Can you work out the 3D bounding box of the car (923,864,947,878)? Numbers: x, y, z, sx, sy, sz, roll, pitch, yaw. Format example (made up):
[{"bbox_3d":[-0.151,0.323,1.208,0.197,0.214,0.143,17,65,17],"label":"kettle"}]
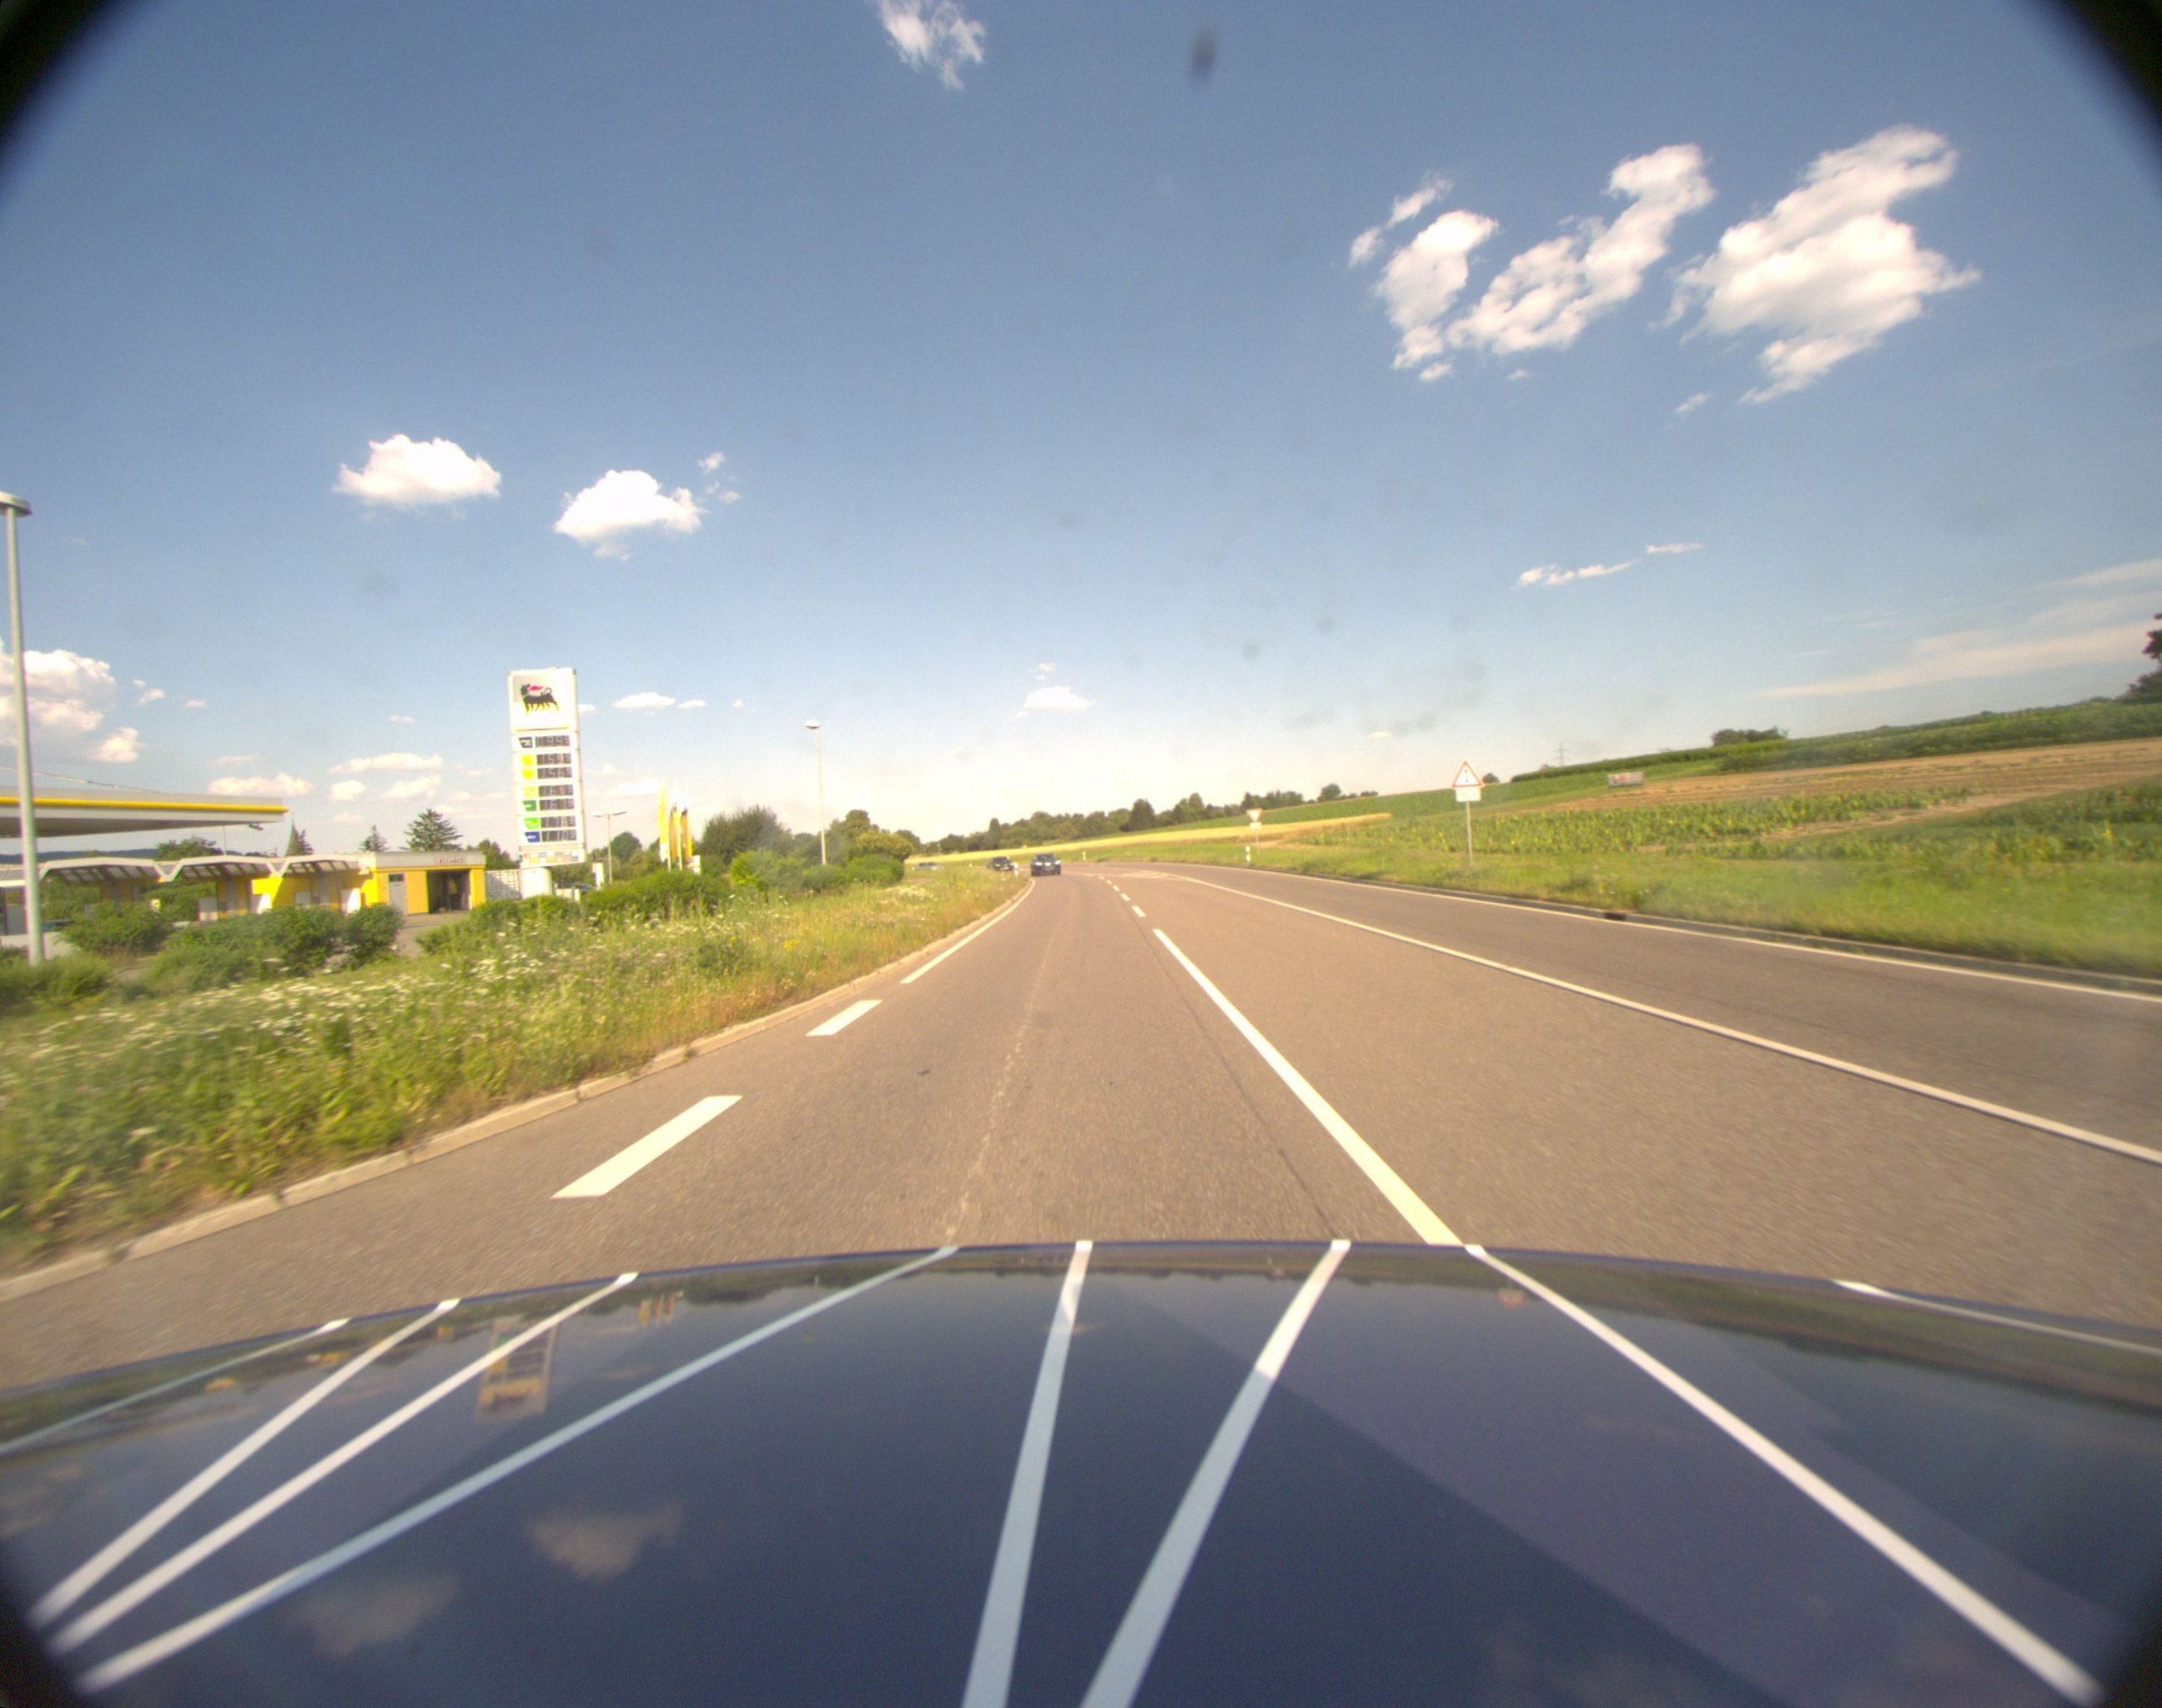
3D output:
[{"bbox_3d":[-17.899,2.047,93.068,1.526,1.498,2.745,-7,2,-43],"label":"car"}]

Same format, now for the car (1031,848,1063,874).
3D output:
[{"bbox_3d":[-2.555,0.481,55.981,1.789,1.620,4.465,-6,2,-8],"label":"car"}]

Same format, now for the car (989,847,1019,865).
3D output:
[{"bbox_3d":[-7.573,0.196,74.463,1.777,1.604,4.540,-6,2,-20],"label":"car"}]

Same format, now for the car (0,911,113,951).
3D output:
[{"bbox_3d":[-50.517,3.794,37.433,4.335,1.530,1.805,-4,1,14],"label":"car"}]

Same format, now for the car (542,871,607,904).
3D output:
[{"bbox_3d":[-40.284,2.651,60.495,3.691,2.102,1.918,-6,2,-15],"label":"car"}]
